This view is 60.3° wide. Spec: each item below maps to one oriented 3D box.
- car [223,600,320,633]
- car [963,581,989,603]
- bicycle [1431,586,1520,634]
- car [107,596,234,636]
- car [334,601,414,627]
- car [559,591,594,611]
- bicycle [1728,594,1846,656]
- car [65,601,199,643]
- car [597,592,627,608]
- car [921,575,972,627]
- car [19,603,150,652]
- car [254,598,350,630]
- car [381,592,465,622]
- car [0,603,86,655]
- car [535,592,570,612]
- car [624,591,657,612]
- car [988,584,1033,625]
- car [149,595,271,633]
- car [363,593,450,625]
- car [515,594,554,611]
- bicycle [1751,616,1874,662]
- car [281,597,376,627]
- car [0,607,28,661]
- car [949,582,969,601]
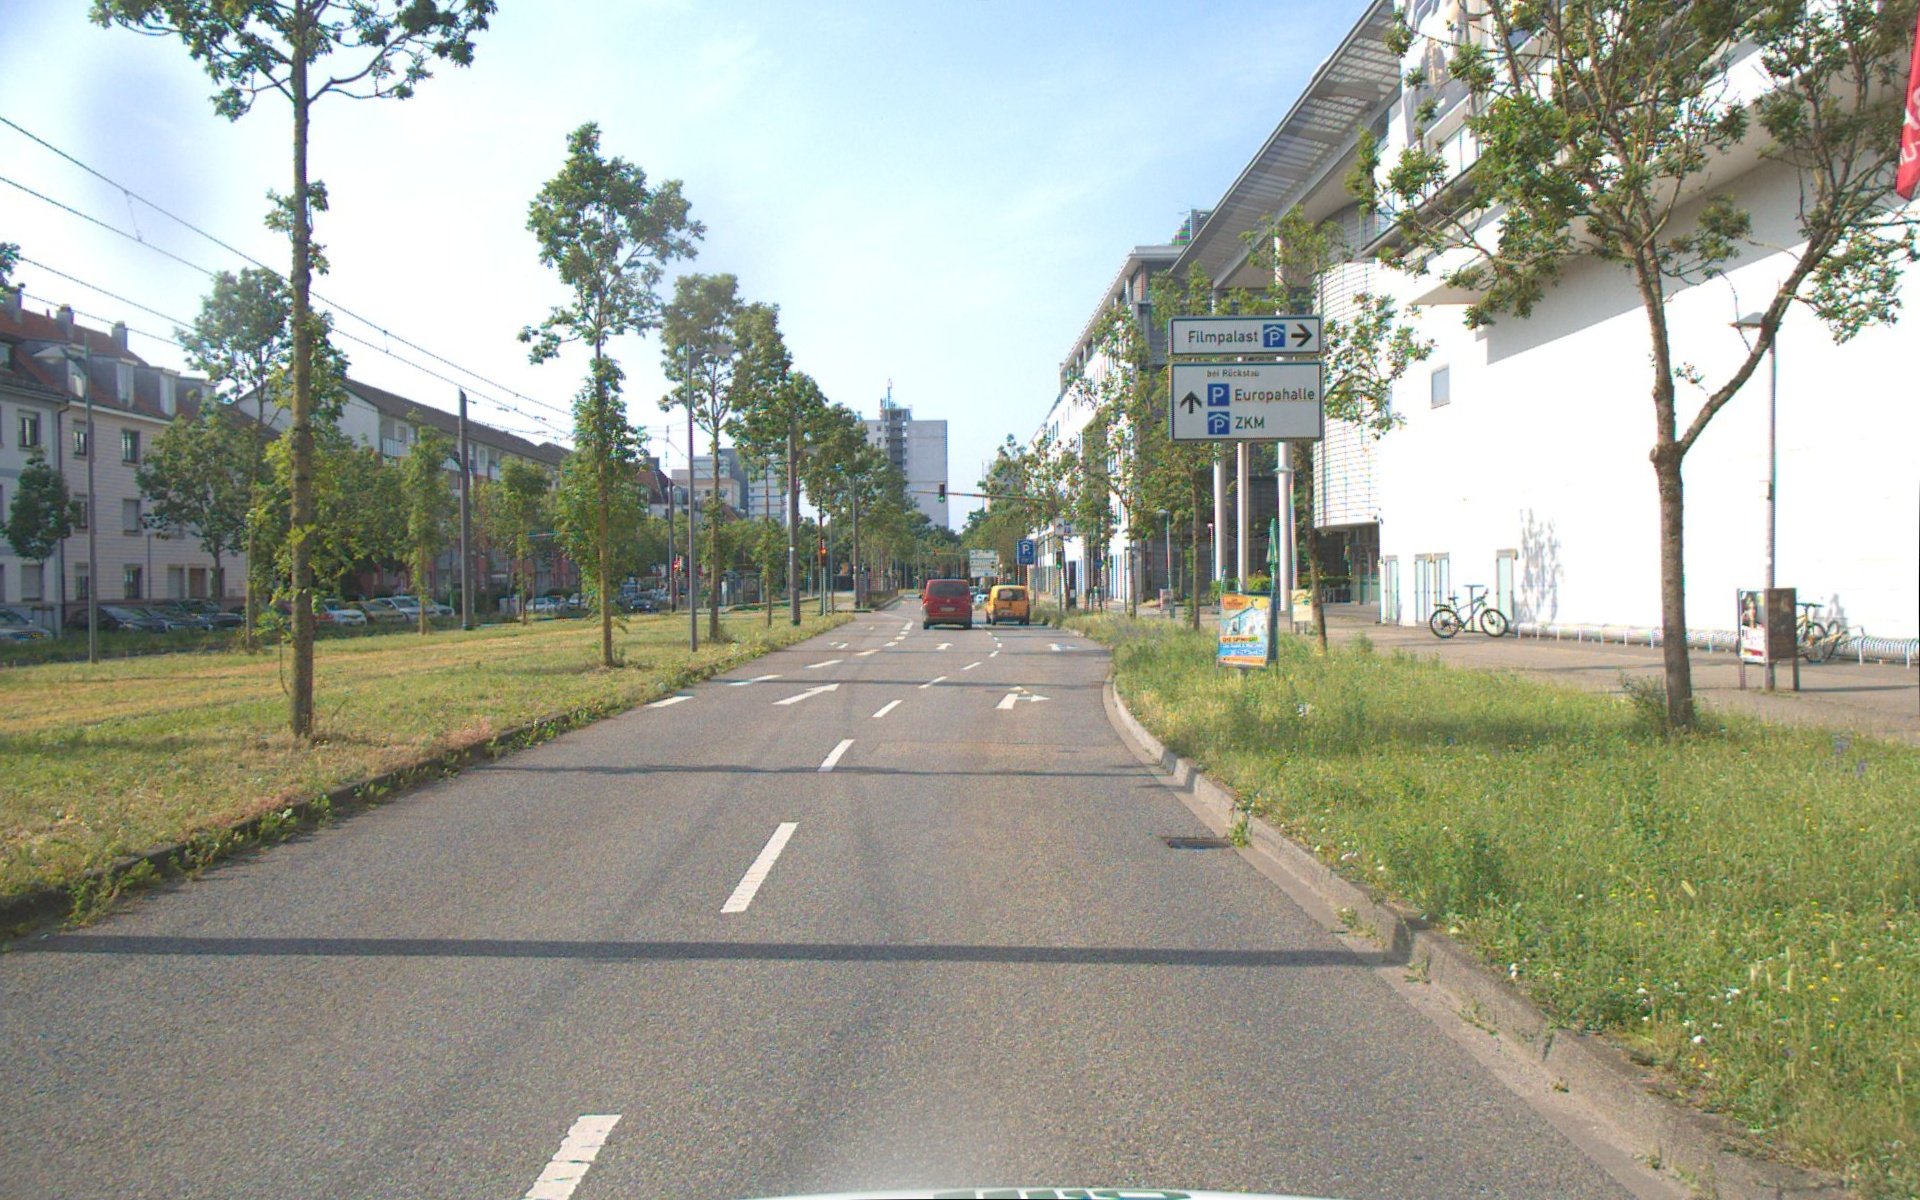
[{"bbox_3d":[-27.973,0.664,67.181,3.915,1.256,1.695,1,0,33],"label":"car"},{"bbox_3d":[1.167,-0.609,119.755,1.686,1.545,3.780,-1,1,-2],"label":"car"},{"bbox_3d":[12.677,0.236,40.695,1.966,1.122,0.676,-1,0,3],"label":"bicycle"},{"bbox_3d":[-27.681,0.550,58.009,3.908,1.310,1.999,1,0,25],"label":"car"},{"bbox_3d":[-28.588,0.662,80.676,3.926,1.199,1.990,1,0,40],"label":"car"},{"bbox_3d":[-31.149,0.089,134.504,1.941,1.583,4.535,1,0,-2],"label":"car"},{"bbox_3d":[13.111,0.395,26.225,1.623,0.931,0.482,-1,0,-1],"label":"bicycle"},{"bbox_3d":[-27.770,0.730,55.471,3.907,1.310,1.999,-1,1,25],"label":"car"},{"bbox_3d":[-31.569,0.009,150.013,1.941,1.384,4.068,1,0,-2],"label":"car"},{"bbox_3d":[-0.559,0.015,63.522,1.837,1.886,3.998,-1,0,-2],"label":"car"},{"bbox_3d":[-26.754,0.816,50.527,3.693,1.400,1.663,1,0,25],"label":"car"},{"bbox_3d":[-28.165,0.588,70.761,3.915,1.280,1.871,1,0,32],"label":"car"},{"bbox_3d":[-28.227,0.344,86.971,4.261,1.489,1.958,1,0,32],"label":"car"},{"bbox_3d":[-27.772,0.817,48.125,4.240,1.400,1.999,1,0,25],"label":"car"},{"bbox_3d":[-30.677,0.143,124.561,1.796,1.496,3.825,1,0,-2],"label":"car"},{"bbox_3d":[-27.374,0.150,141.938,1.953,1.735,4.712,-1,0,0],"label":"car"},{"bbox_3d":[2.184,0.164,72.575,1.837,1.726,3.973,-1,0,0],"label":"car"},{"bbox_3d":[-27.447,0.511,60.524,3.967,1.310,1.998,1,0,26],"label":"car"},{"bbox_3d":[-27.901,0.426,83.342,4.375,1.541,1.993,1,0,36],"label":"car"},{"bbox_3d":[-30.535,0.174,118.708,1.796,1.168,4.163,1,0,-2],"label":"car"},{"bbox_3d":[13.146,0.595,25.516,1.623,0.656,0.538,-1,0,-1],"label":"bicycle"},{"bbox_3d":[-28.105,0.515,73.652,3.911,1.291,1.883,1,0,29],"label":"car"},{"bbox_3d":[-27.040,0.883,44.141,3.909,1.400,1.925,1,0,26],"label":"car"},{"bbox_3d":[-0.079,-0.780,146.179,1.655,1.552,3.850,-3,1,-1],"label":"car"}]
